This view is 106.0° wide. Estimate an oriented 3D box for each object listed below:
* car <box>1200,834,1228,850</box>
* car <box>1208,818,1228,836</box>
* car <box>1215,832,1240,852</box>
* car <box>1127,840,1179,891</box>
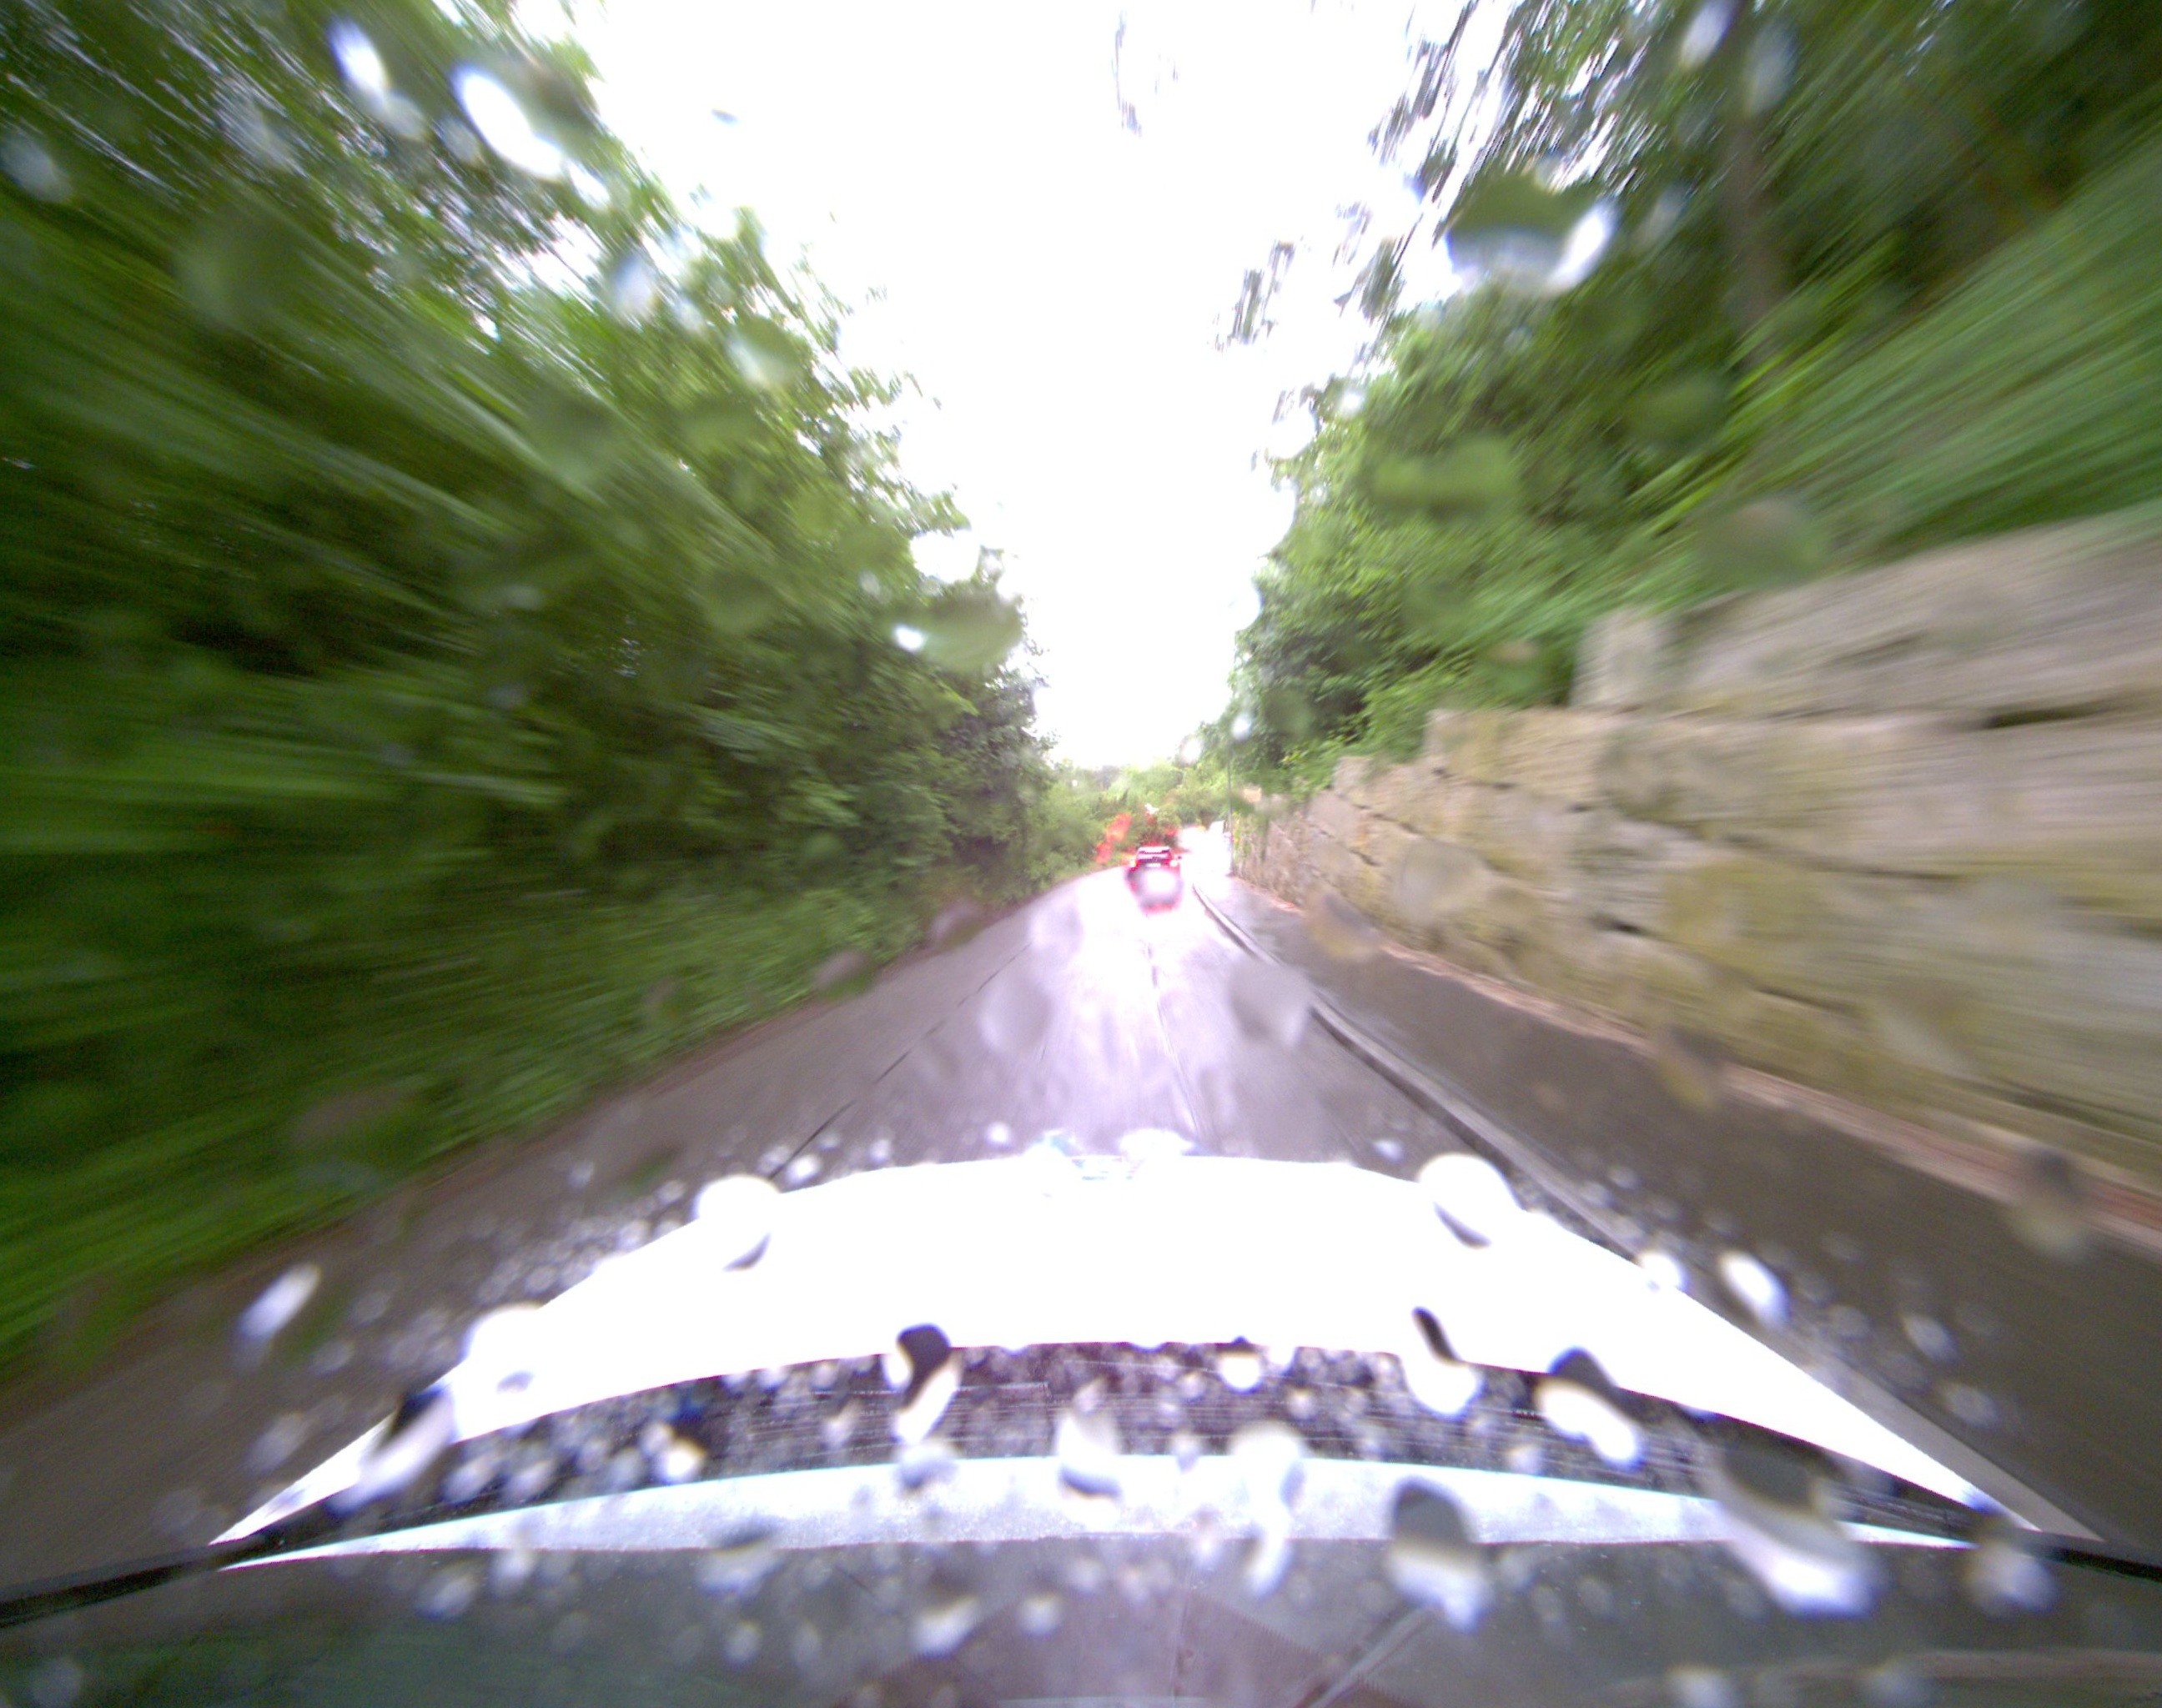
[{"bbox_3d":[13.222,-1.188,80.848,1.925,1.522,4.601,0,1,19],"label":"car"},{"bbox_3d":[15.884,-3.163,94.439,1.676,1.782,4.254,-2,5,18],"label":"car"},{"bbox_3d":[13.135,-1.085,72.893,1.849,1.743,4.017,0,1,16],"label":"car"},{"bbox_3d":[2.744,0.371,30.322,1.690,1.449,4.011,-2,5,8],"label":"car"}]
